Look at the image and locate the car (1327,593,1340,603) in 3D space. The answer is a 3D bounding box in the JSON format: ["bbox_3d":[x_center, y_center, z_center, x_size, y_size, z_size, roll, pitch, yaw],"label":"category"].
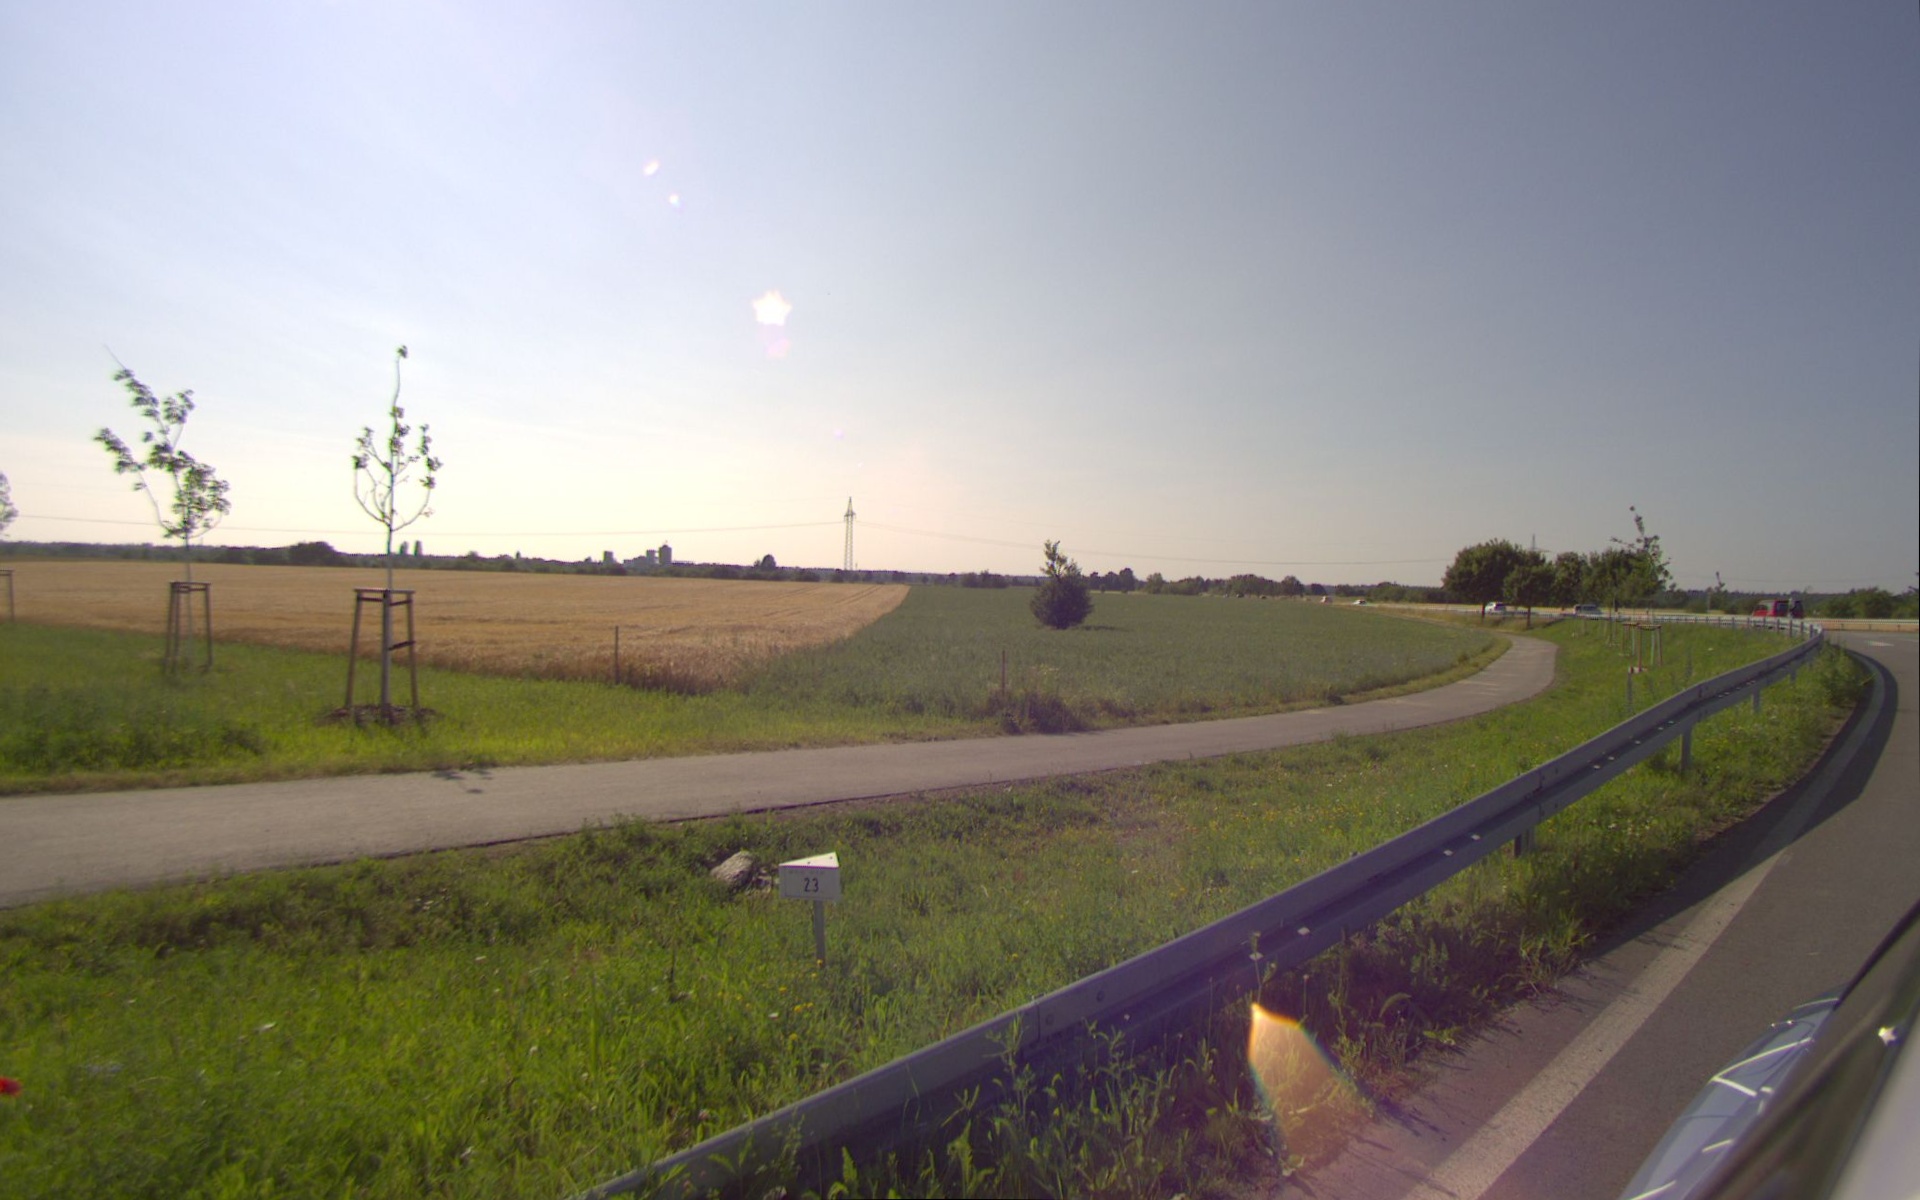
[{"bbox_3d":[87.672,-0.498,237.559,2.089,2.040,5.132,0,-2,12],"label":"car"}]

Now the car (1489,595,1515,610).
[{"bbox_3d":[74.508,0.333,139.145,1.670,1.693,4.851,-1,3,11],"label":"car"}]

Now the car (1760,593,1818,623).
[{"bbox_3d":[56.697,0.551,69.307,1.819,1.965,4.885,1,0,24],"label":"car"}]

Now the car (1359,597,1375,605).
[{"bbox_3d":[83.265,0.189,206.887,2.088,1.512,5.133,0,-2,11],"label":"car"}]
